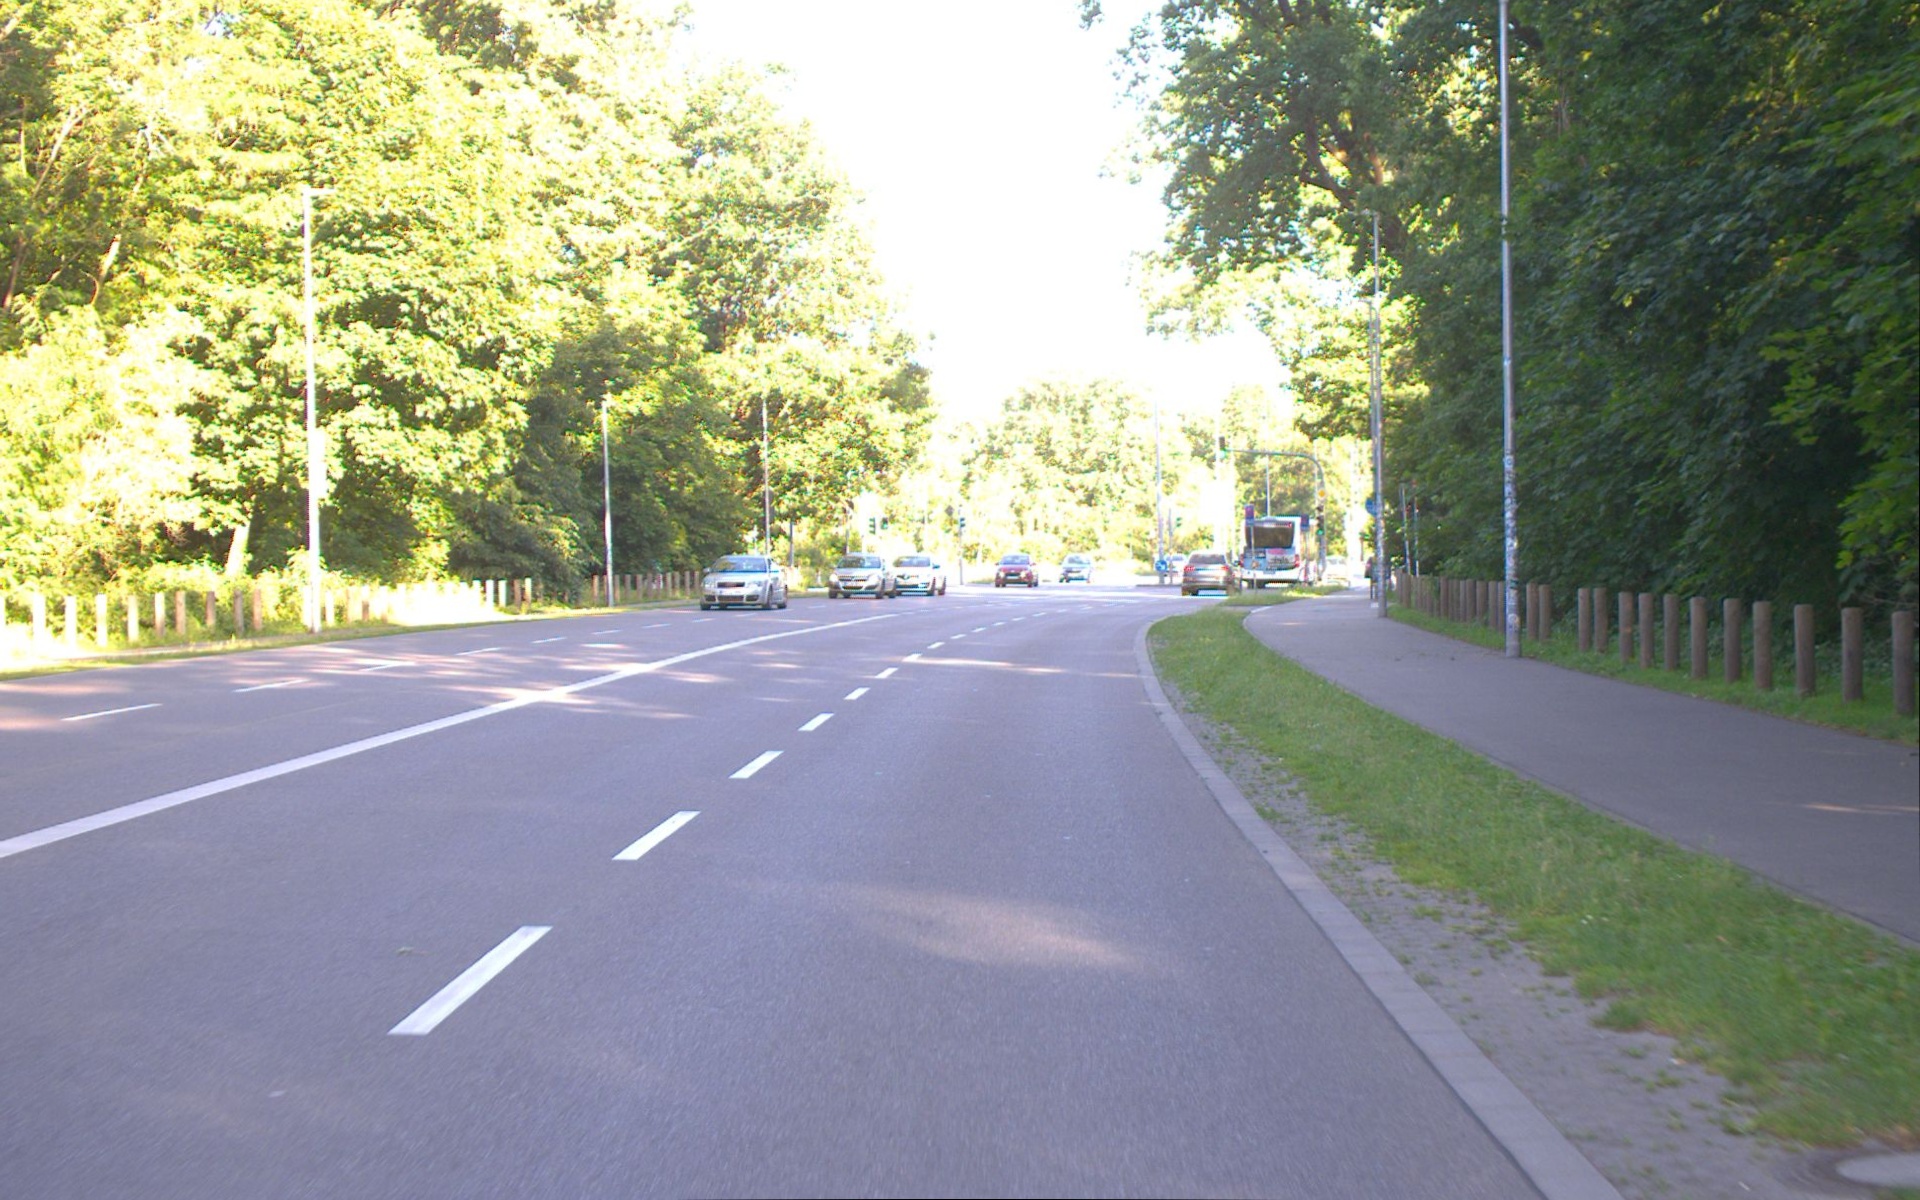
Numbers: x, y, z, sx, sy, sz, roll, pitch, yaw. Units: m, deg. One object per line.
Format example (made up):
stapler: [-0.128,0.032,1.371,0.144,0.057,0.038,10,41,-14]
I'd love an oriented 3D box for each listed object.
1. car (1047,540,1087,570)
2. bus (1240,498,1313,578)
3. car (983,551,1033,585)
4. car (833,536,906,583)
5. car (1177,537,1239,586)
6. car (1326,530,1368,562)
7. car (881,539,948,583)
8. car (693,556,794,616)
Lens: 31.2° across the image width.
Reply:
car: [5.549,-2.331,178.269,1.656,1.503,3.999,0,0,7]
bus: [13.663,-2.647,147.986,2.606,3.357,7.972,1,1,9]
car: [2.178,-1.439,155.120,1.663,1.513,3.805,0,0,9]
car: [-2.869,-1.263,109.453,1.780,1.459,4.273,0,0,6]
car: [9.044,-1.409,125.199,1.881,1.759,3.999,0,1,9]
car: [21.317,-2.958,189.213,1.864,1.678,3.770,-1,0,13]
car: [-1.572,-1.358,120.042,1.783,1.517,4.397,0,1,7]
car: [-5.401,-0.364,86.168,1.780,1.403,4.164,0,1,7]
